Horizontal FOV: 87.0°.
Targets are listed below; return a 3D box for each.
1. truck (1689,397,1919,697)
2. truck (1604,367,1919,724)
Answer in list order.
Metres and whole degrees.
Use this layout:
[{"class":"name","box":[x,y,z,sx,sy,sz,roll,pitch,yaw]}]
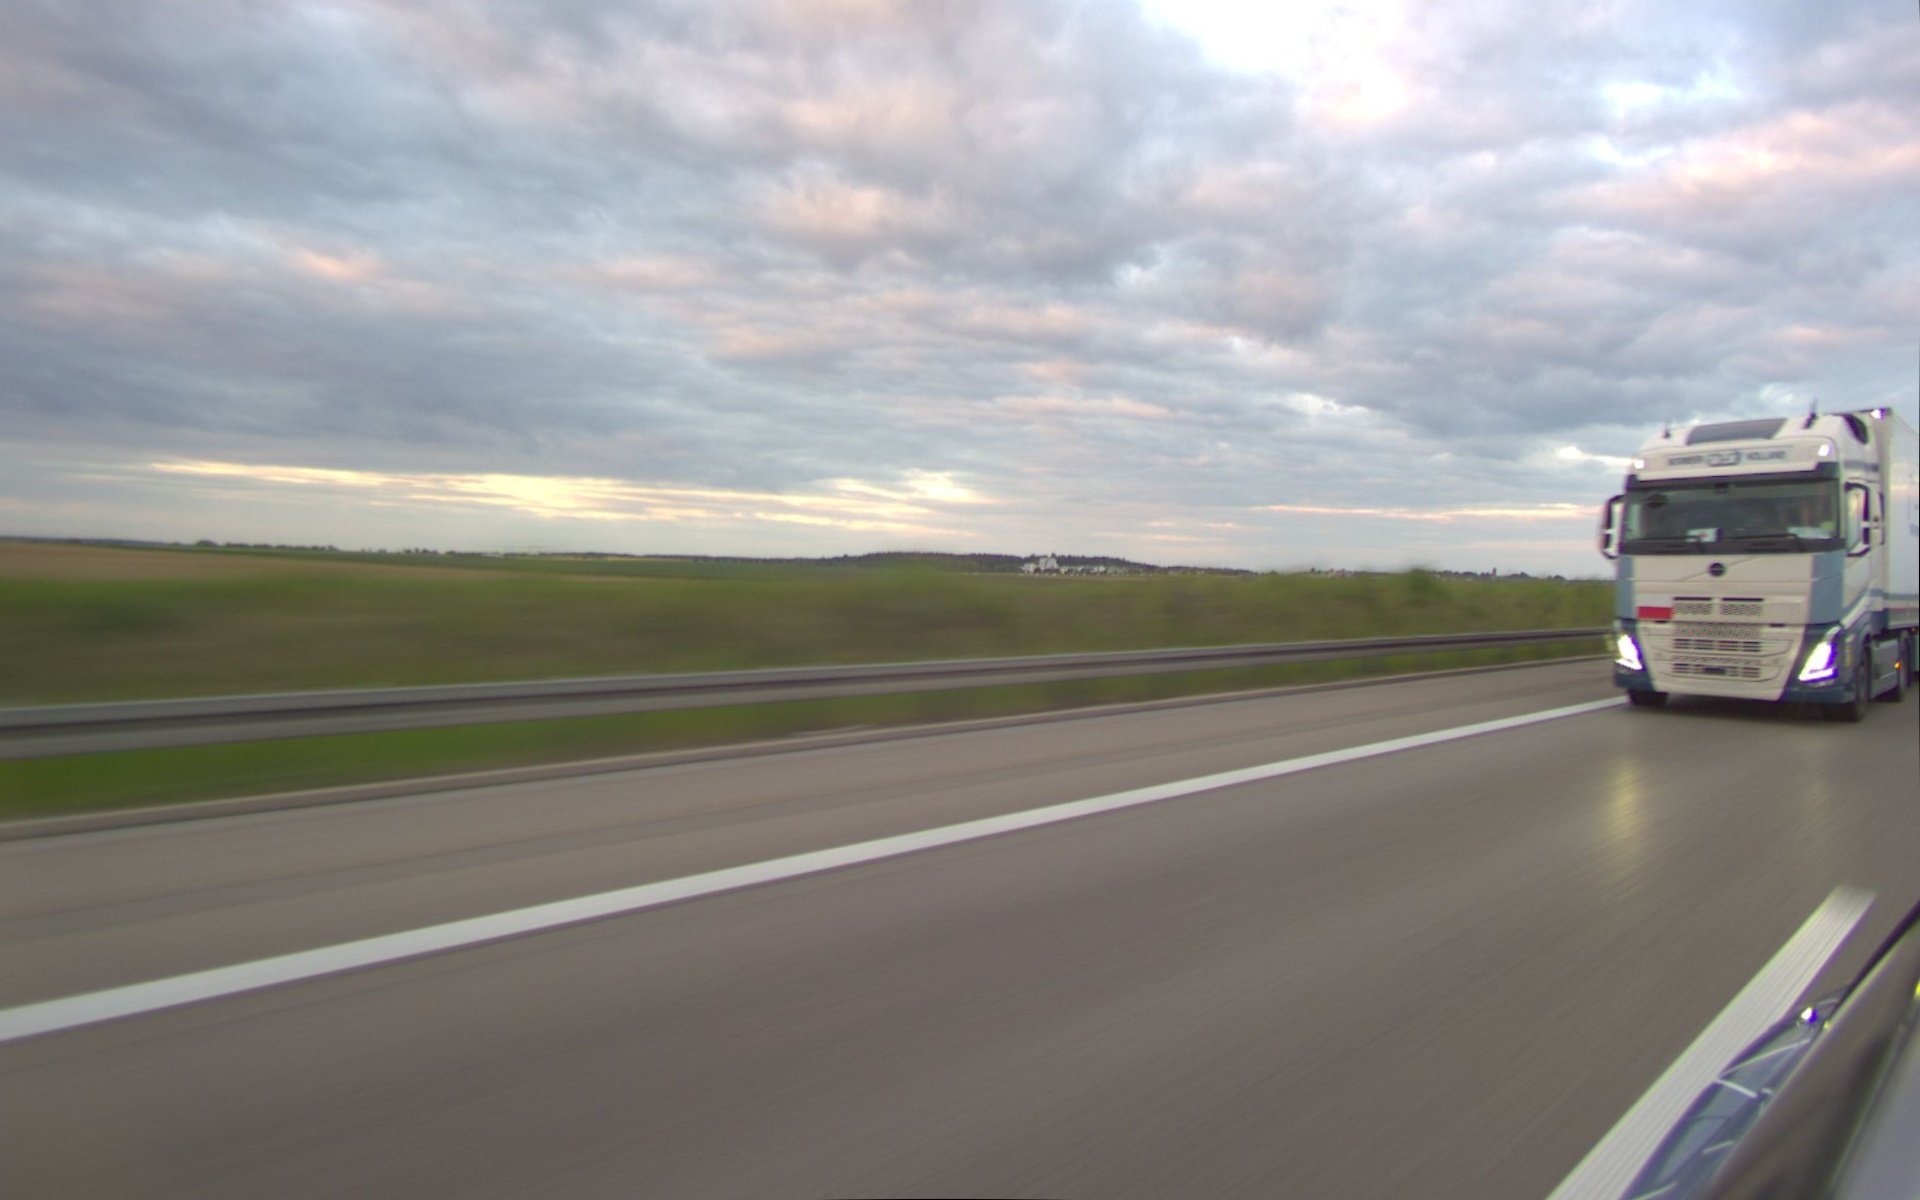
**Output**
[{"class":"truck","box":[17.029,-0.773,18.928,12.757,4.073,2.595,0,1,-41]},{"class":"truck","box":[11.680,-0.654,14.412,5.755,4.073,2.596,0,1,-40]}]
